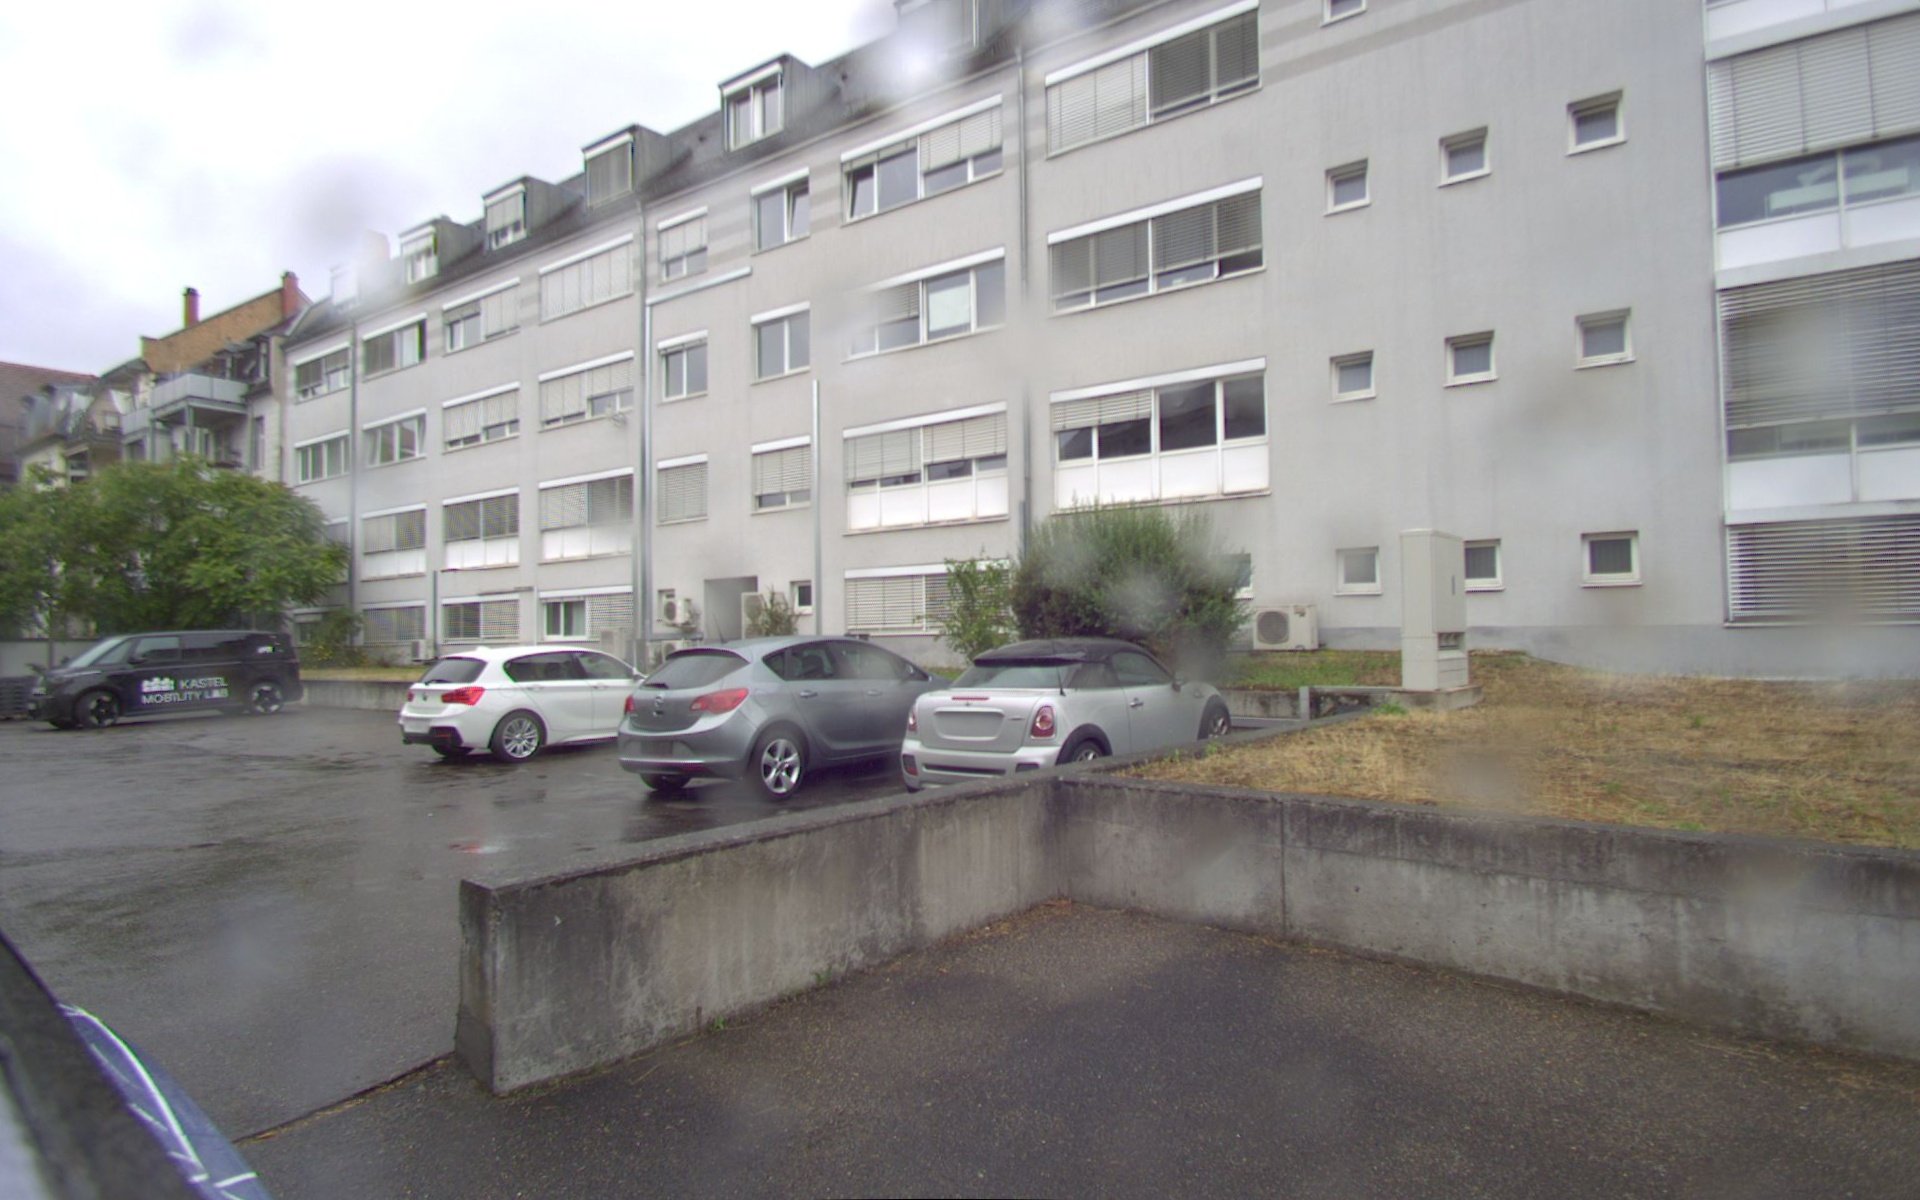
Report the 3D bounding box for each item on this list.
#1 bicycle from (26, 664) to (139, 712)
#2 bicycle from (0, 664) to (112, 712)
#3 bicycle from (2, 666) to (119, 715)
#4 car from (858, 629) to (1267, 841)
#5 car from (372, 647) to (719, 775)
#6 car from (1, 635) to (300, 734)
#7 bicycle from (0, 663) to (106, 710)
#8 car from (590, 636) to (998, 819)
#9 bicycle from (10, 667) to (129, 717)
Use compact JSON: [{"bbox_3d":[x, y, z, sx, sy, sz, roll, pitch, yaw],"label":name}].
[{"bbox_3d":[-24.381,2.429,28.160,0.643,1.195,2.289,0,-2,41],"label":"bicycle"},{"bbox_3d":[-25.091,2.417,28.103,0.643,1.195,2.289,0,-2,41],"label":"bicycle"},{"bbox_3d":[-24.233,2.413,27.309,0.643,1.195,2.289,0,-2,41],"label":"bicycle"},{"bbox_3d":[1.158,1.039,9.290,1.819,1.343,4.127,-4,-2,37],"label":"car"},{"bbox_3d":[-5.463,1.383,13.831,1.749,1.444,4.102,-2,-3,36],"label":"car"},{"bbox_3d":[-17.001,1.714,21.512,1.982,1.851,4.579,-4,-4,33],"label":"car"},{"bbox_3d":[-25.600,2.417,28.481,0.643,1.195,2.289,0,-2,41],"label":"bicycle"},{"bbox_3d":[-1.510,1.161,10.544,1.818,1.495,4.128,-4,-4,35],"label":"car"},{"bbox_3d":[-23.579,2.413,26.846,0.643,1.195,2.289,0,-2,41],"label":"bicycle"}]
